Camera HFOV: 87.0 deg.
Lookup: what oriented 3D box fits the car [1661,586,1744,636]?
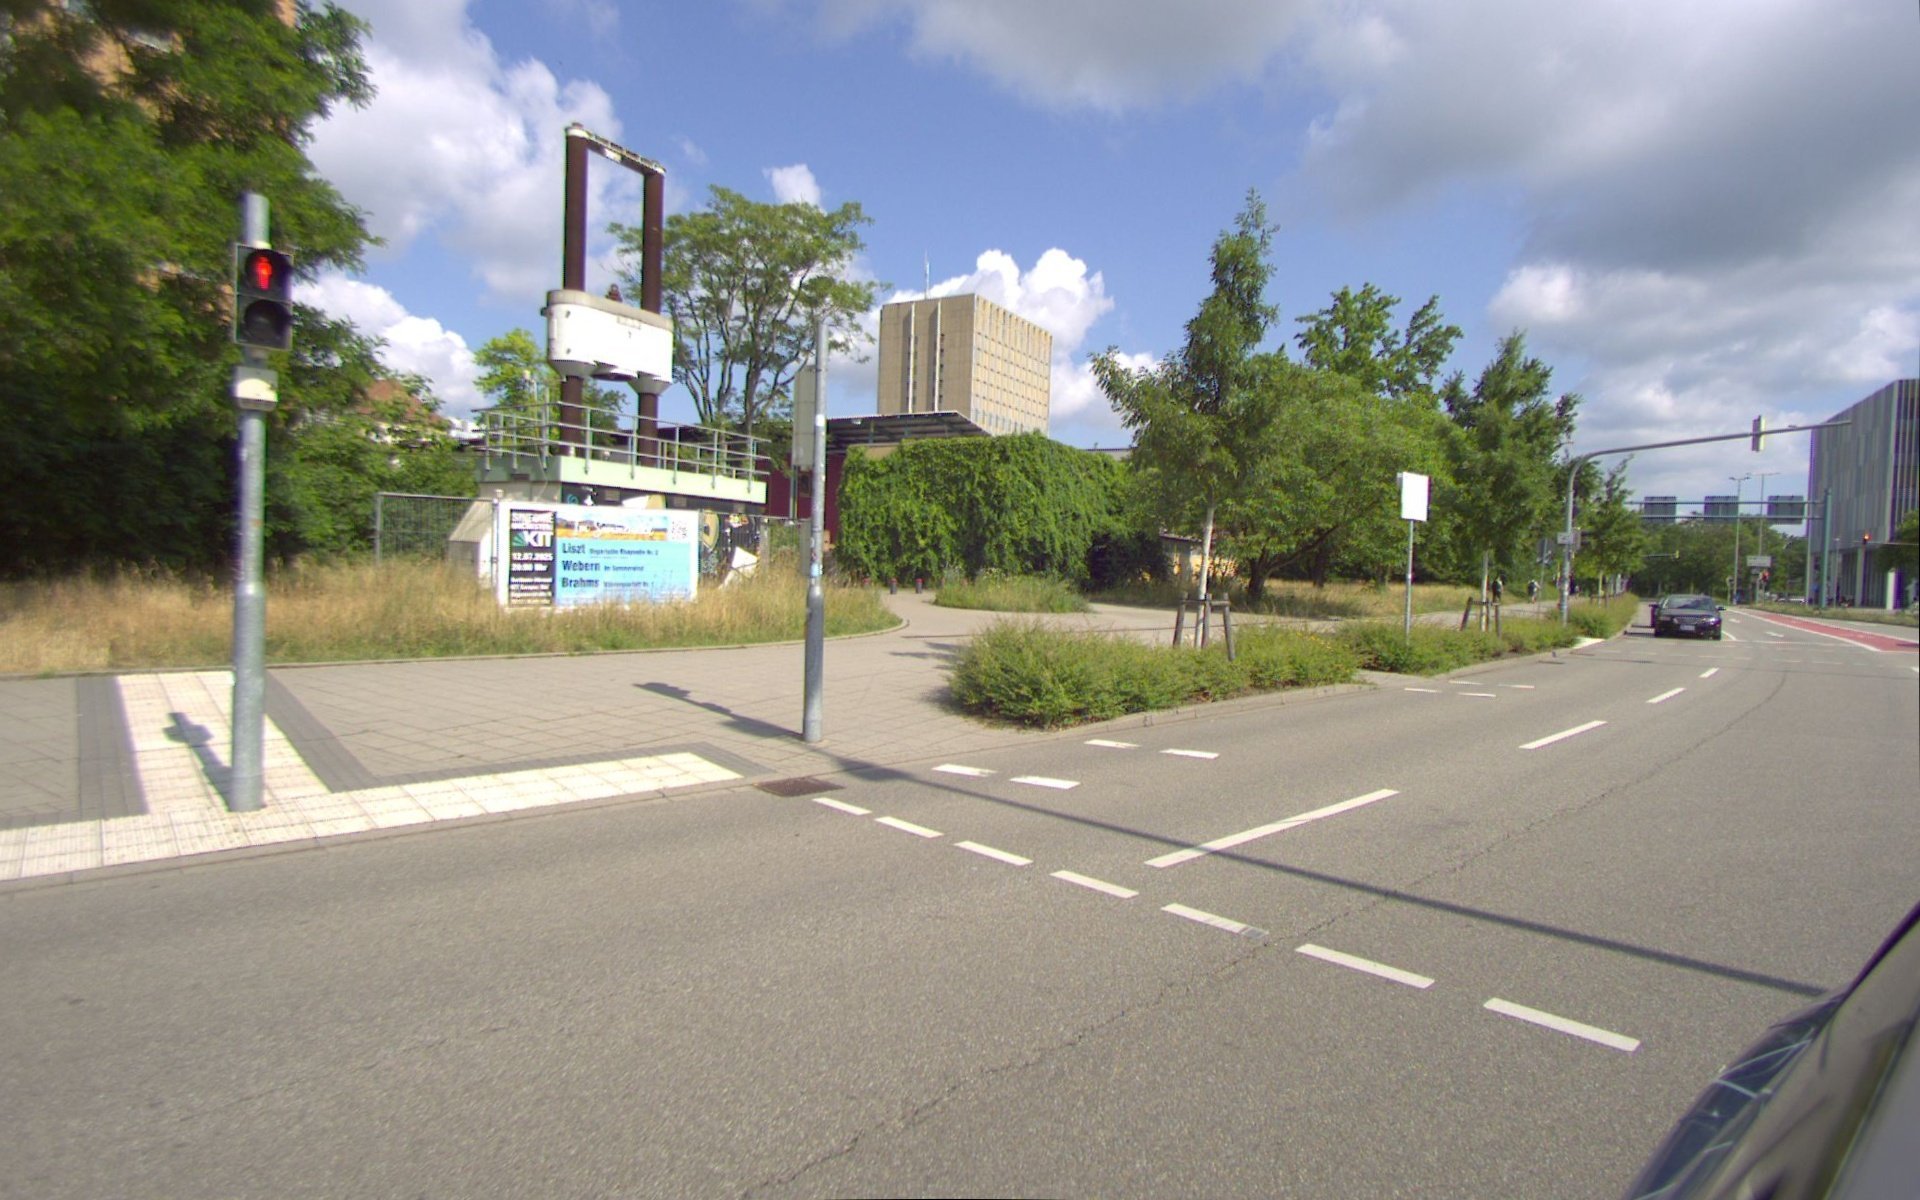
[{"bbox_3d":[24.053,0.293,32.862,1.989,1.394,4.107,4,3,36],"label":"car"}]

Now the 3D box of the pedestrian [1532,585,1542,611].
[{"bbox_3d":[39.245,-0.135,68.826,0.537,1.790,0.519,3,0,28],"label":"pedestrian"}]

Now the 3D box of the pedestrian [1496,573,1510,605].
[{"bbox_3d":[28.574,-0.569,53.262,0.537,1.628,0.519,3,0,28],"label":"pedestrian"}]
